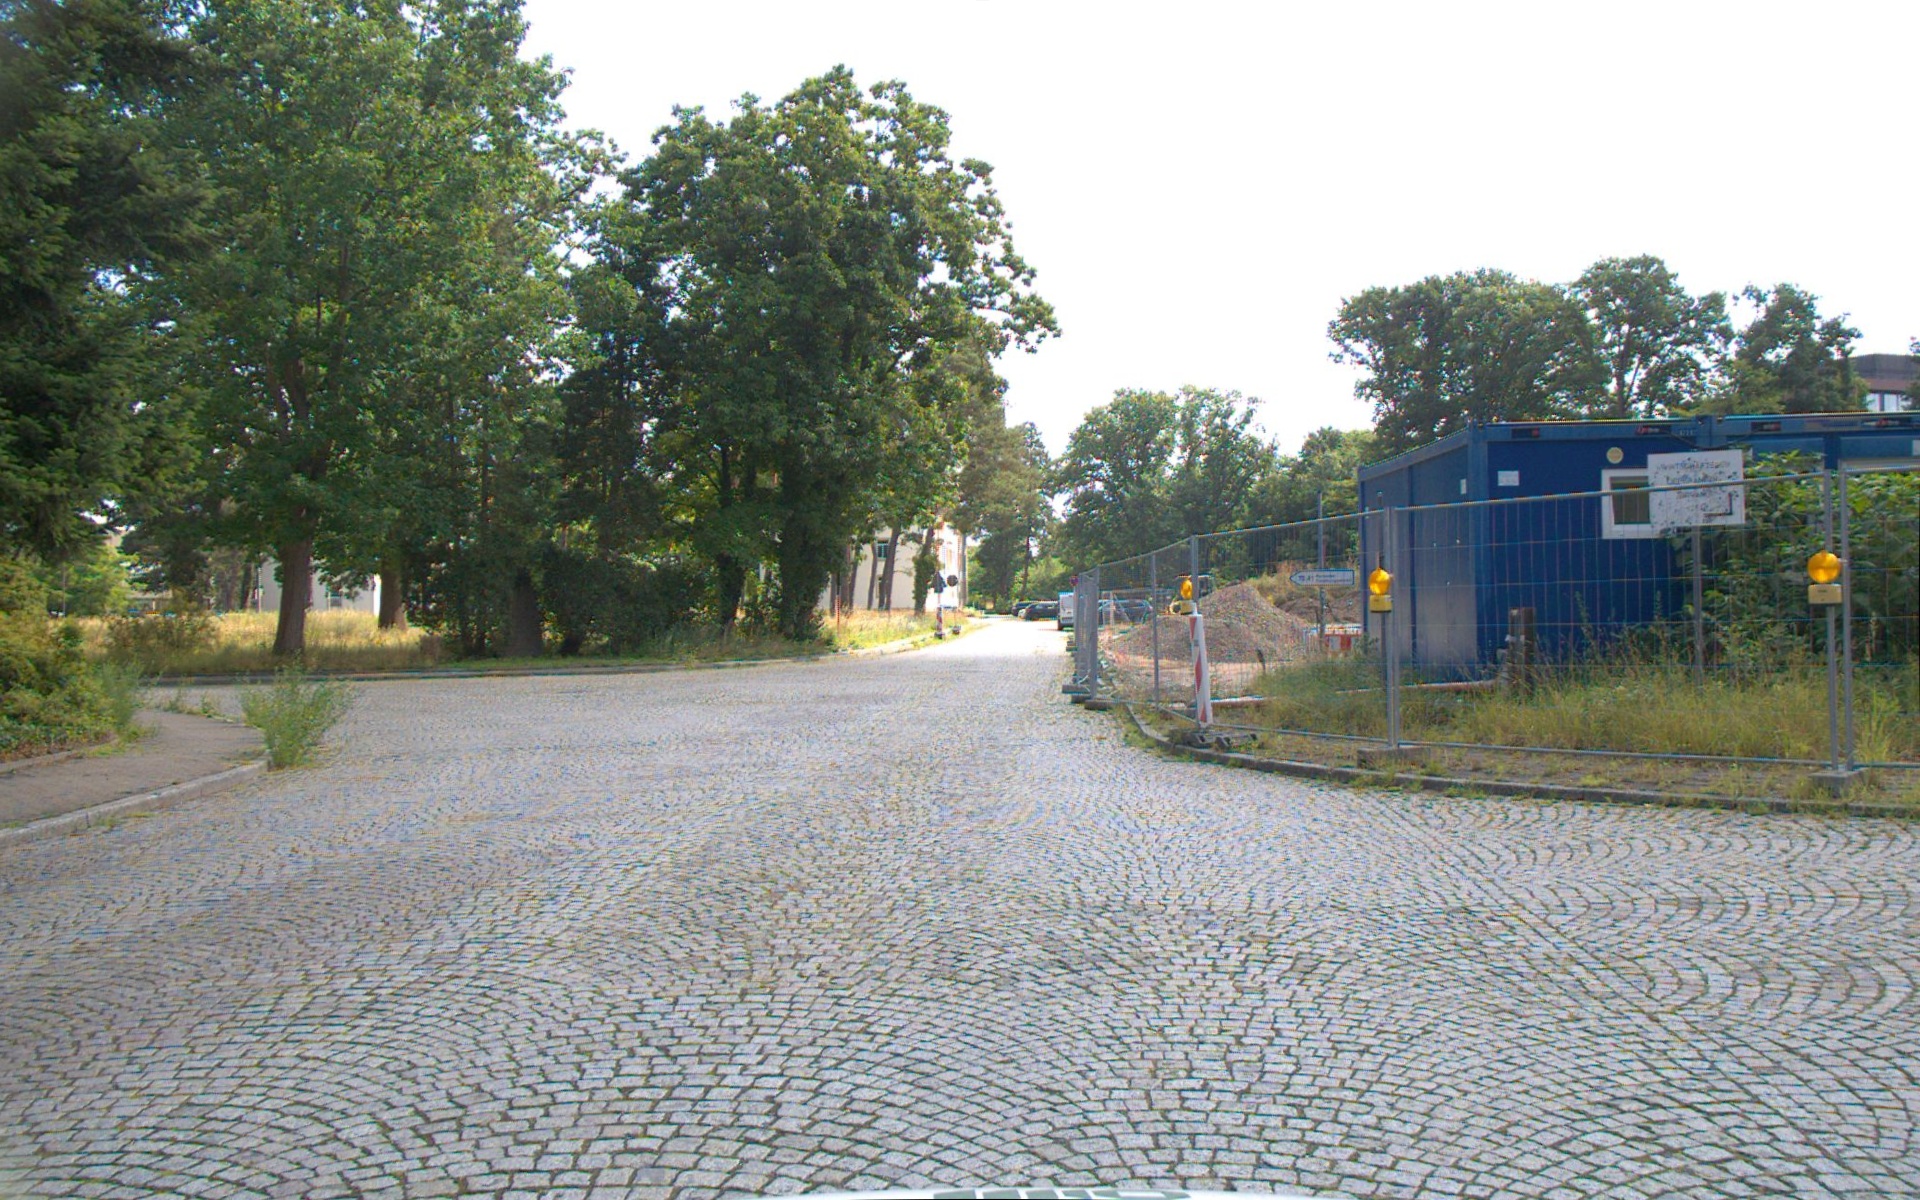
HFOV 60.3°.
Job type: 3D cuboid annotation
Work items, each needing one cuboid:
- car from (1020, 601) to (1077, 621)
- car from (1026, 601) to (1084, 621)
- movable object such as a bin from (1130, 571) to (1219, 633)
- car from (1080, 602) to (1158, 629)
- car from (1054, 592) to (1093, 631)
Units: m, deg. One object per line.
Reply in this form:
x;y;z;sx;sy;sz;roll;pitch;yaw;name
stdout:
7.560;0.941;141.822;4.684;1.669;1.999;-1;-1;-2;car
7.945;0.930;138.705;4.684;1.669;1.999;-1;-1;-2;car
9.520;0.082;73.035;2.090;2.638;4.779;-1;0;32;movable object such as a bin
9.236;0.879;95.958;4.308;1.537;2.002;0;0;11;car
6.192;0.631;90.524;1.952;2.049;4.092;-1;0;2;car
